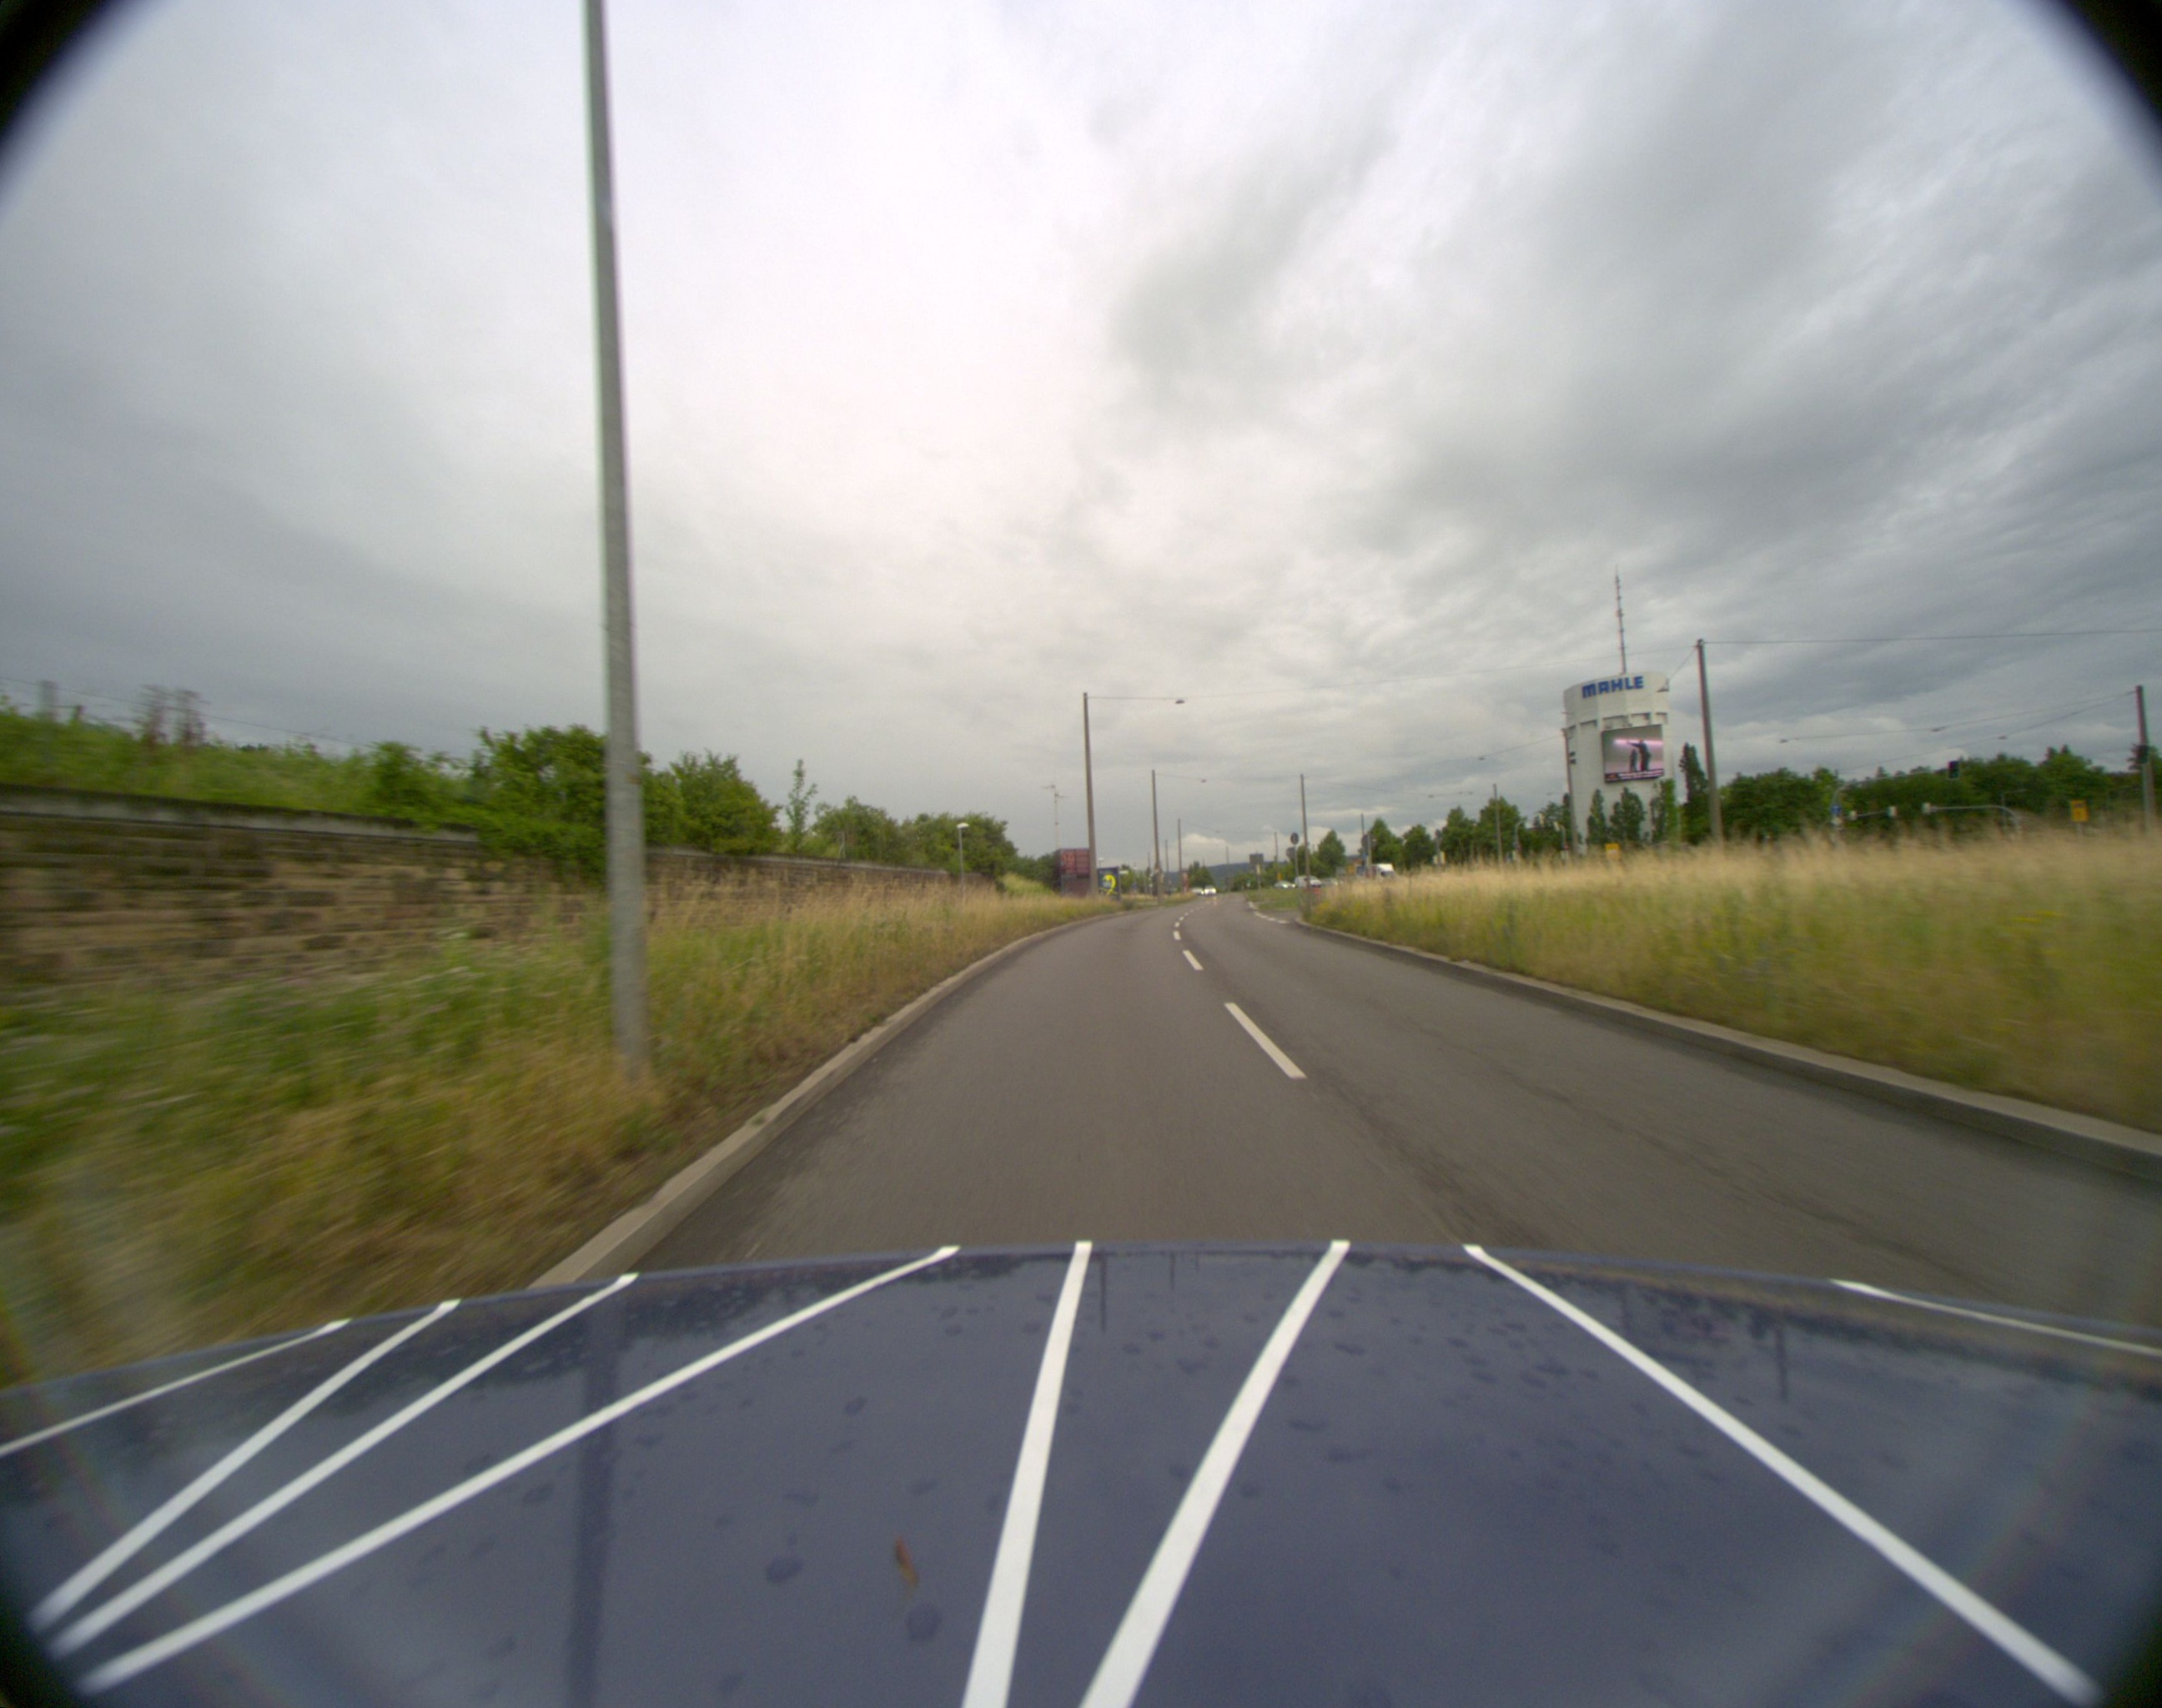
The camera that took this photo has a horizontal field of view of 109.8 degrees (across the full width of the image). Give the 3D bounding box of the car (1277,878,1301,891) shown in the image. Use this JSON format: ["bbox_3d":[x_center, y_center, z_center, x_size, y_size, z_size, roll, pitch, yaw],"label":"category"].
[{"bbox_3d":[32.482,4.823,118.913,1.999,1.789,5.172,-5,-3,-3],"label":"car"}]

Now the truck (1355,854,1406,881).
[{"bbox_3d":[37.291,1.734,94.816,2.132,2.816,6.026,-4,-3,-20],"label":"truck"}]

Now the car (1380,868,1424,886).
[{"bbox_3d":[36.192,2.635,85.836,2.001,1.671,4.517,-4,-3,-18],"label":"car"}]

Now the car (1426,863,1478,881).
[{"bbox_3d":[39.132,1.909,80.251,2.002,1.672,4.514,-3,-2,-25],"label":"car"}]

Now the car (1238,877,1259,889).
[{"bbox_3d":[28.271,4.878,128.644,1.999,1.789,5.172,-5,-3,-3],"label":"car"}]

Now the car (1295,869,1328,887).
[{"bbox_3d":[33.619,3.564,110.861,2.374,2.167,5.308,-5,-3,-9],"label":"car"}]

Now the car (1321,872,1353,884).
[{"bbox_3d":[34.914,3.271,103.626,2.000,1.302,4.529,-5,-3,-12],"label":"car"}]

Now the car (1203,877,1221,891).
[{"bbox_3d":[20.243,4.695,117.375,1.998,2.001,4.002,-5,-3,0],"label":"car"}]
